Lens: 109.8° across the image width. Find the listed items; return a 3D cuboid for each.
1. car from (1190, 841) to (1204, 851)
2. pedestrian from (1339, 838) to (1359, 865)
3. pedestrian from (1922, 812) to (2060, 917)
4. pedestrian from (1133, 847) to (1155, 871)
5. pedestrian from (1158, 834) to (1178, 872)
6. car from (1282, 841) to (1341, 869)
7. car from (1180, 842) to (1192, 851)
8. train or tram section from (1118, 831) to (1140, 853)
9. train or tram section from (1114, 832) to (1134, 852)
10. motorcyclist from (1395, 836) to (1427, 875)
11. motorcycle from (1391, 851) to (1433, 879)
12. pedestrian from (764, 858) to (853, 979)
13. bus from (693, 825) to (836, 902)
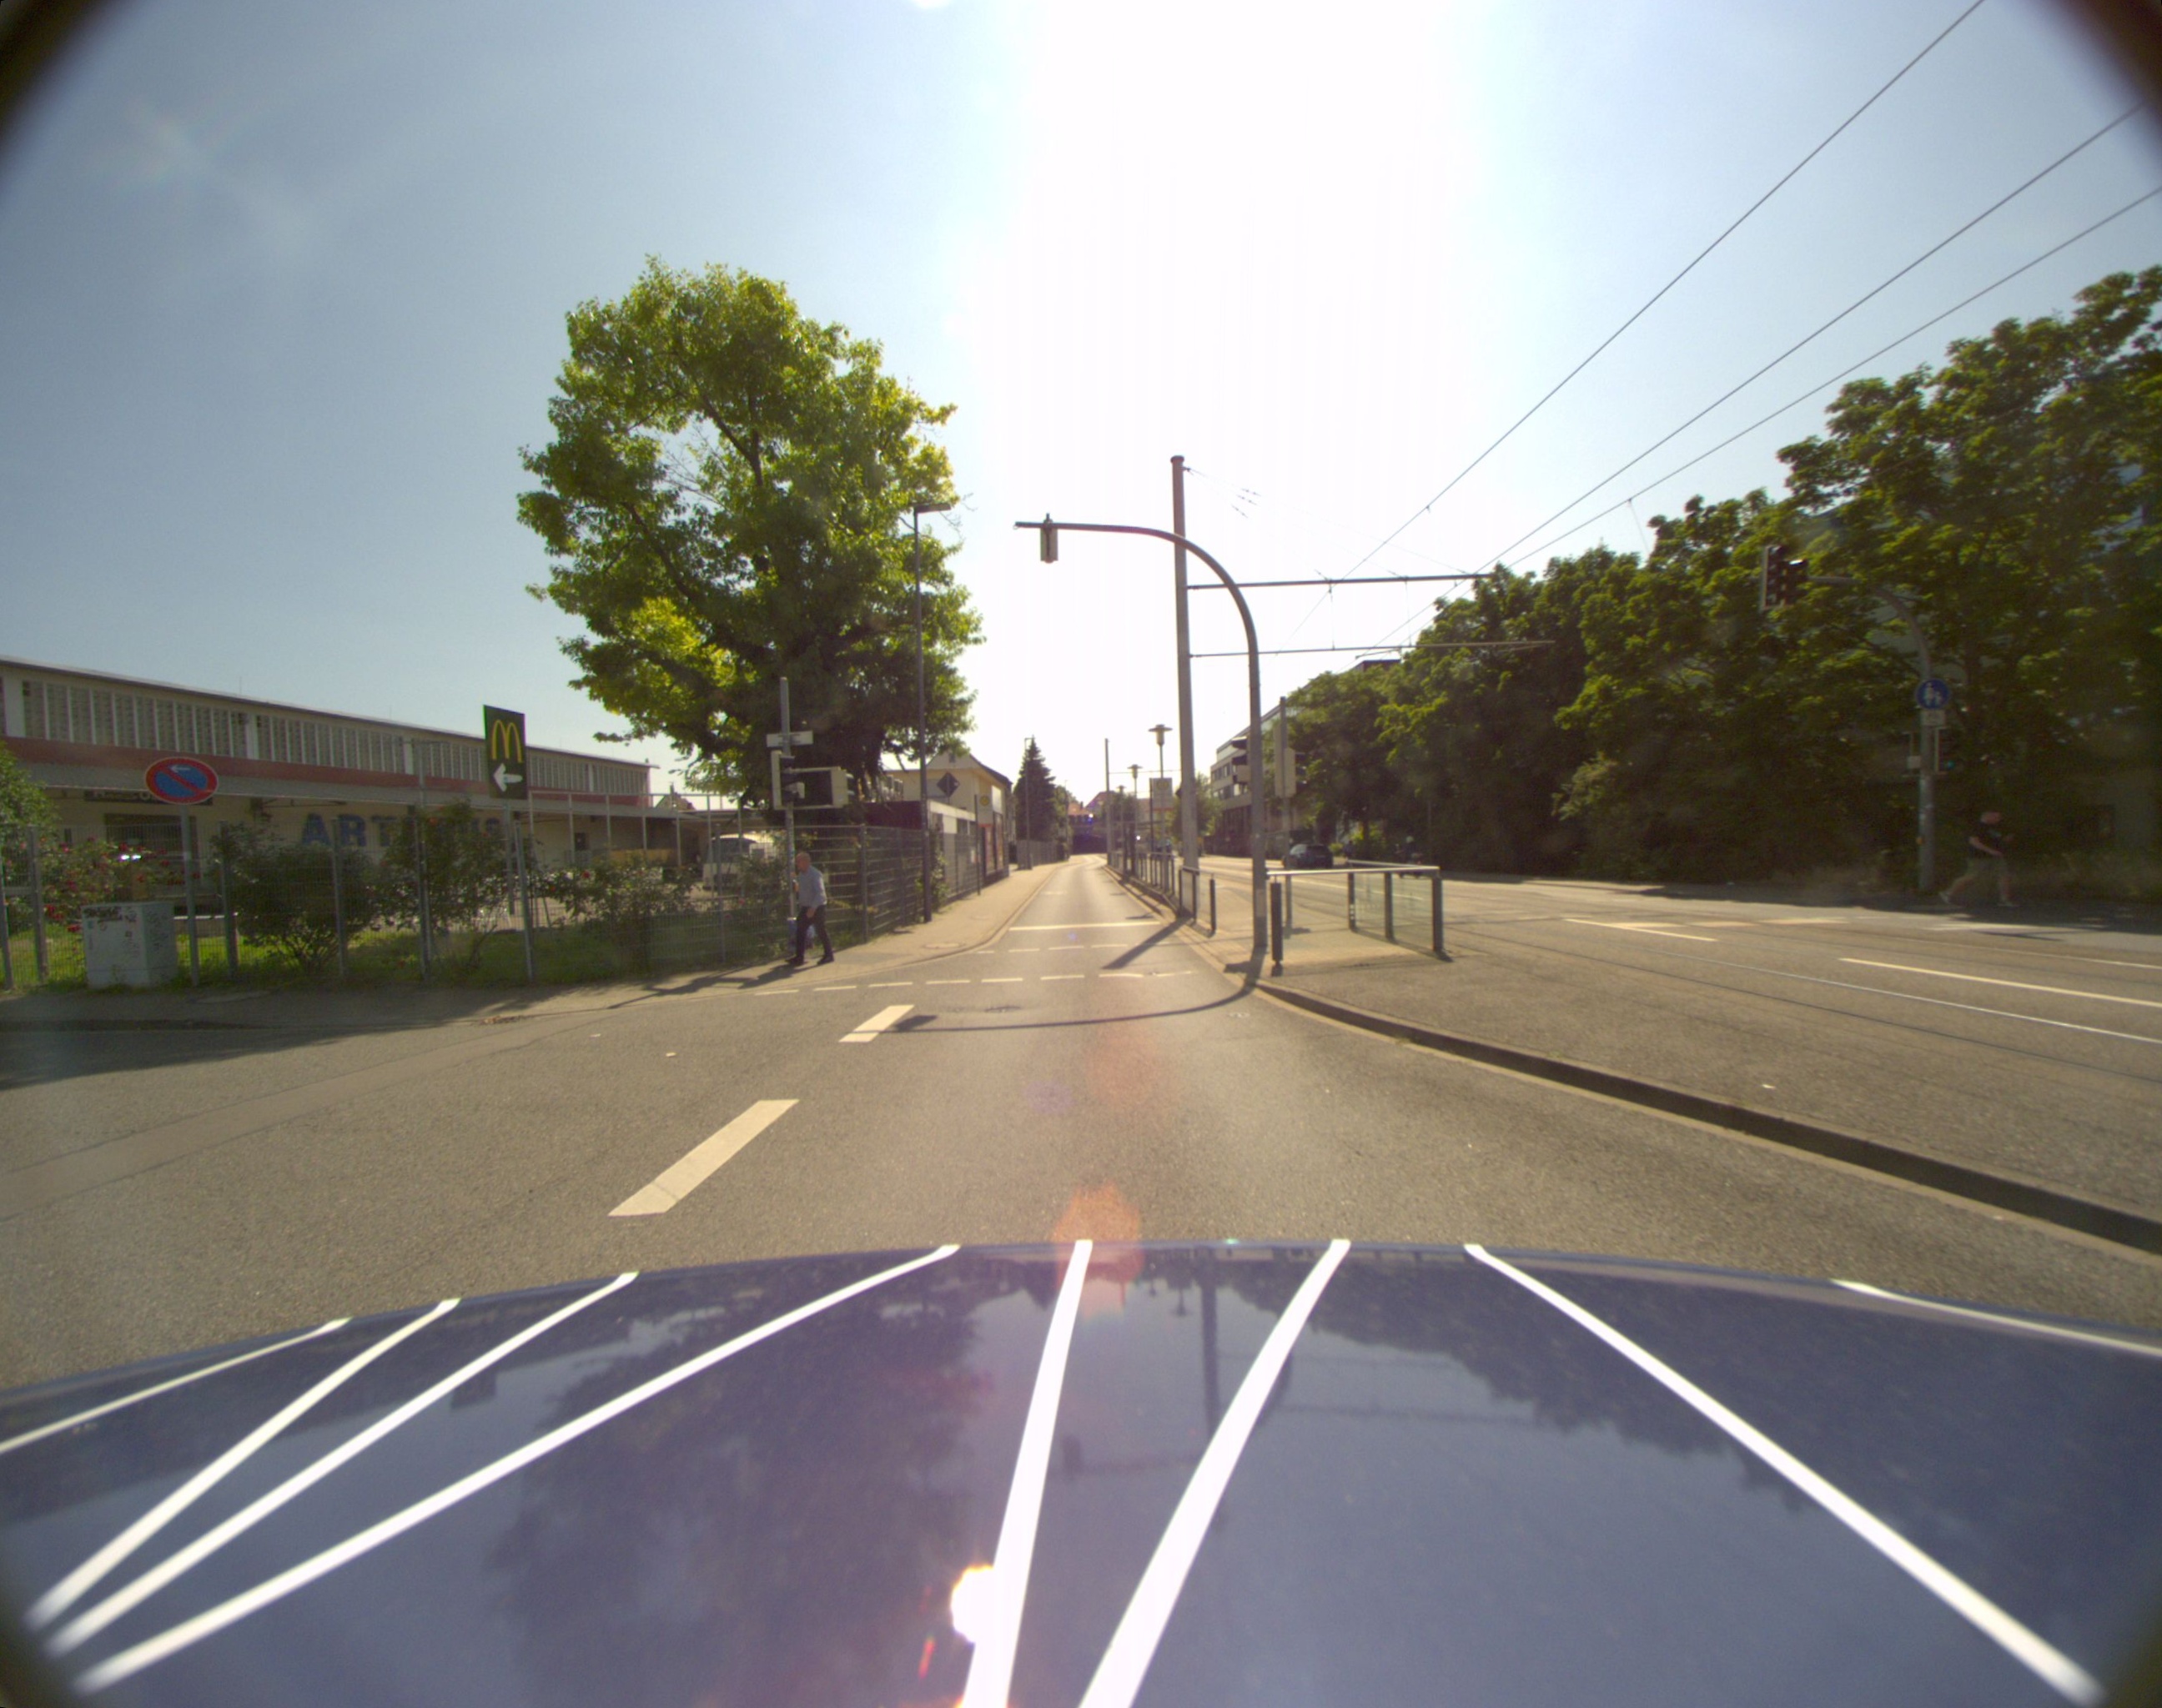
[{"bbox_3d":[18.665,-1.276,122.470,1.997,1.613,4.002,-1,1,7],"label":"car"},{"bbox_3d":[15.793,-0.148,44.804,0.873,1.518,0.846,-2,1,-1],"label":"pedestrian"},{"bbox_3d":[15.636,0.170,13.097,0.888,1.661,1.160,-5,1,-1],"label":"pedestrian"},{"bbox_3d":[2.998,0.248,36.153,0.945,1.093,0.726,-1,2,-1],"label":"pedestrian"},{"bbox_3d":[4.018,-0.047,35.044,0.726,1.715,0.944,-3,1,0],"label":"pedestrian"},{"bbox_3d":[12.811,0.029,42.516,1.911,1.434,4.594,0,1,0],"label":"car"},{"bbox_3d":[17.936,-1.288,129.985,1.870,1.608,4.002,-1,1,7],"label":"car"},{"bbox_3d":[8.028,-2.028,129.013,2.680,3.464,12.325,-2,1,0],"label":"train or tram section"},{"bbox_3d":[7.967,-2.140,141.707,2.680,3.464,13.387,-2,1,0],"label":"train or tram section"},{"bbox_3d":[12.848,0.064,29.614,0.837,1.467,0.963,-2,1,2],"label":"motorcyclist"},{"bbox_3d":[12.869,0.429,29.591,0.824,1.005,1.964,-2,1,1],"label":"motorcycle"},{"bbox_3d":[-4.031,0.910,11.265,0.813,1.690,0.889,0,1,31],"label":"pedestrian"},{"bbox_3d":[-15.402,0.224,38.146,2.572,3.154,10.263,-2,3,1],"label":"bus"}]
